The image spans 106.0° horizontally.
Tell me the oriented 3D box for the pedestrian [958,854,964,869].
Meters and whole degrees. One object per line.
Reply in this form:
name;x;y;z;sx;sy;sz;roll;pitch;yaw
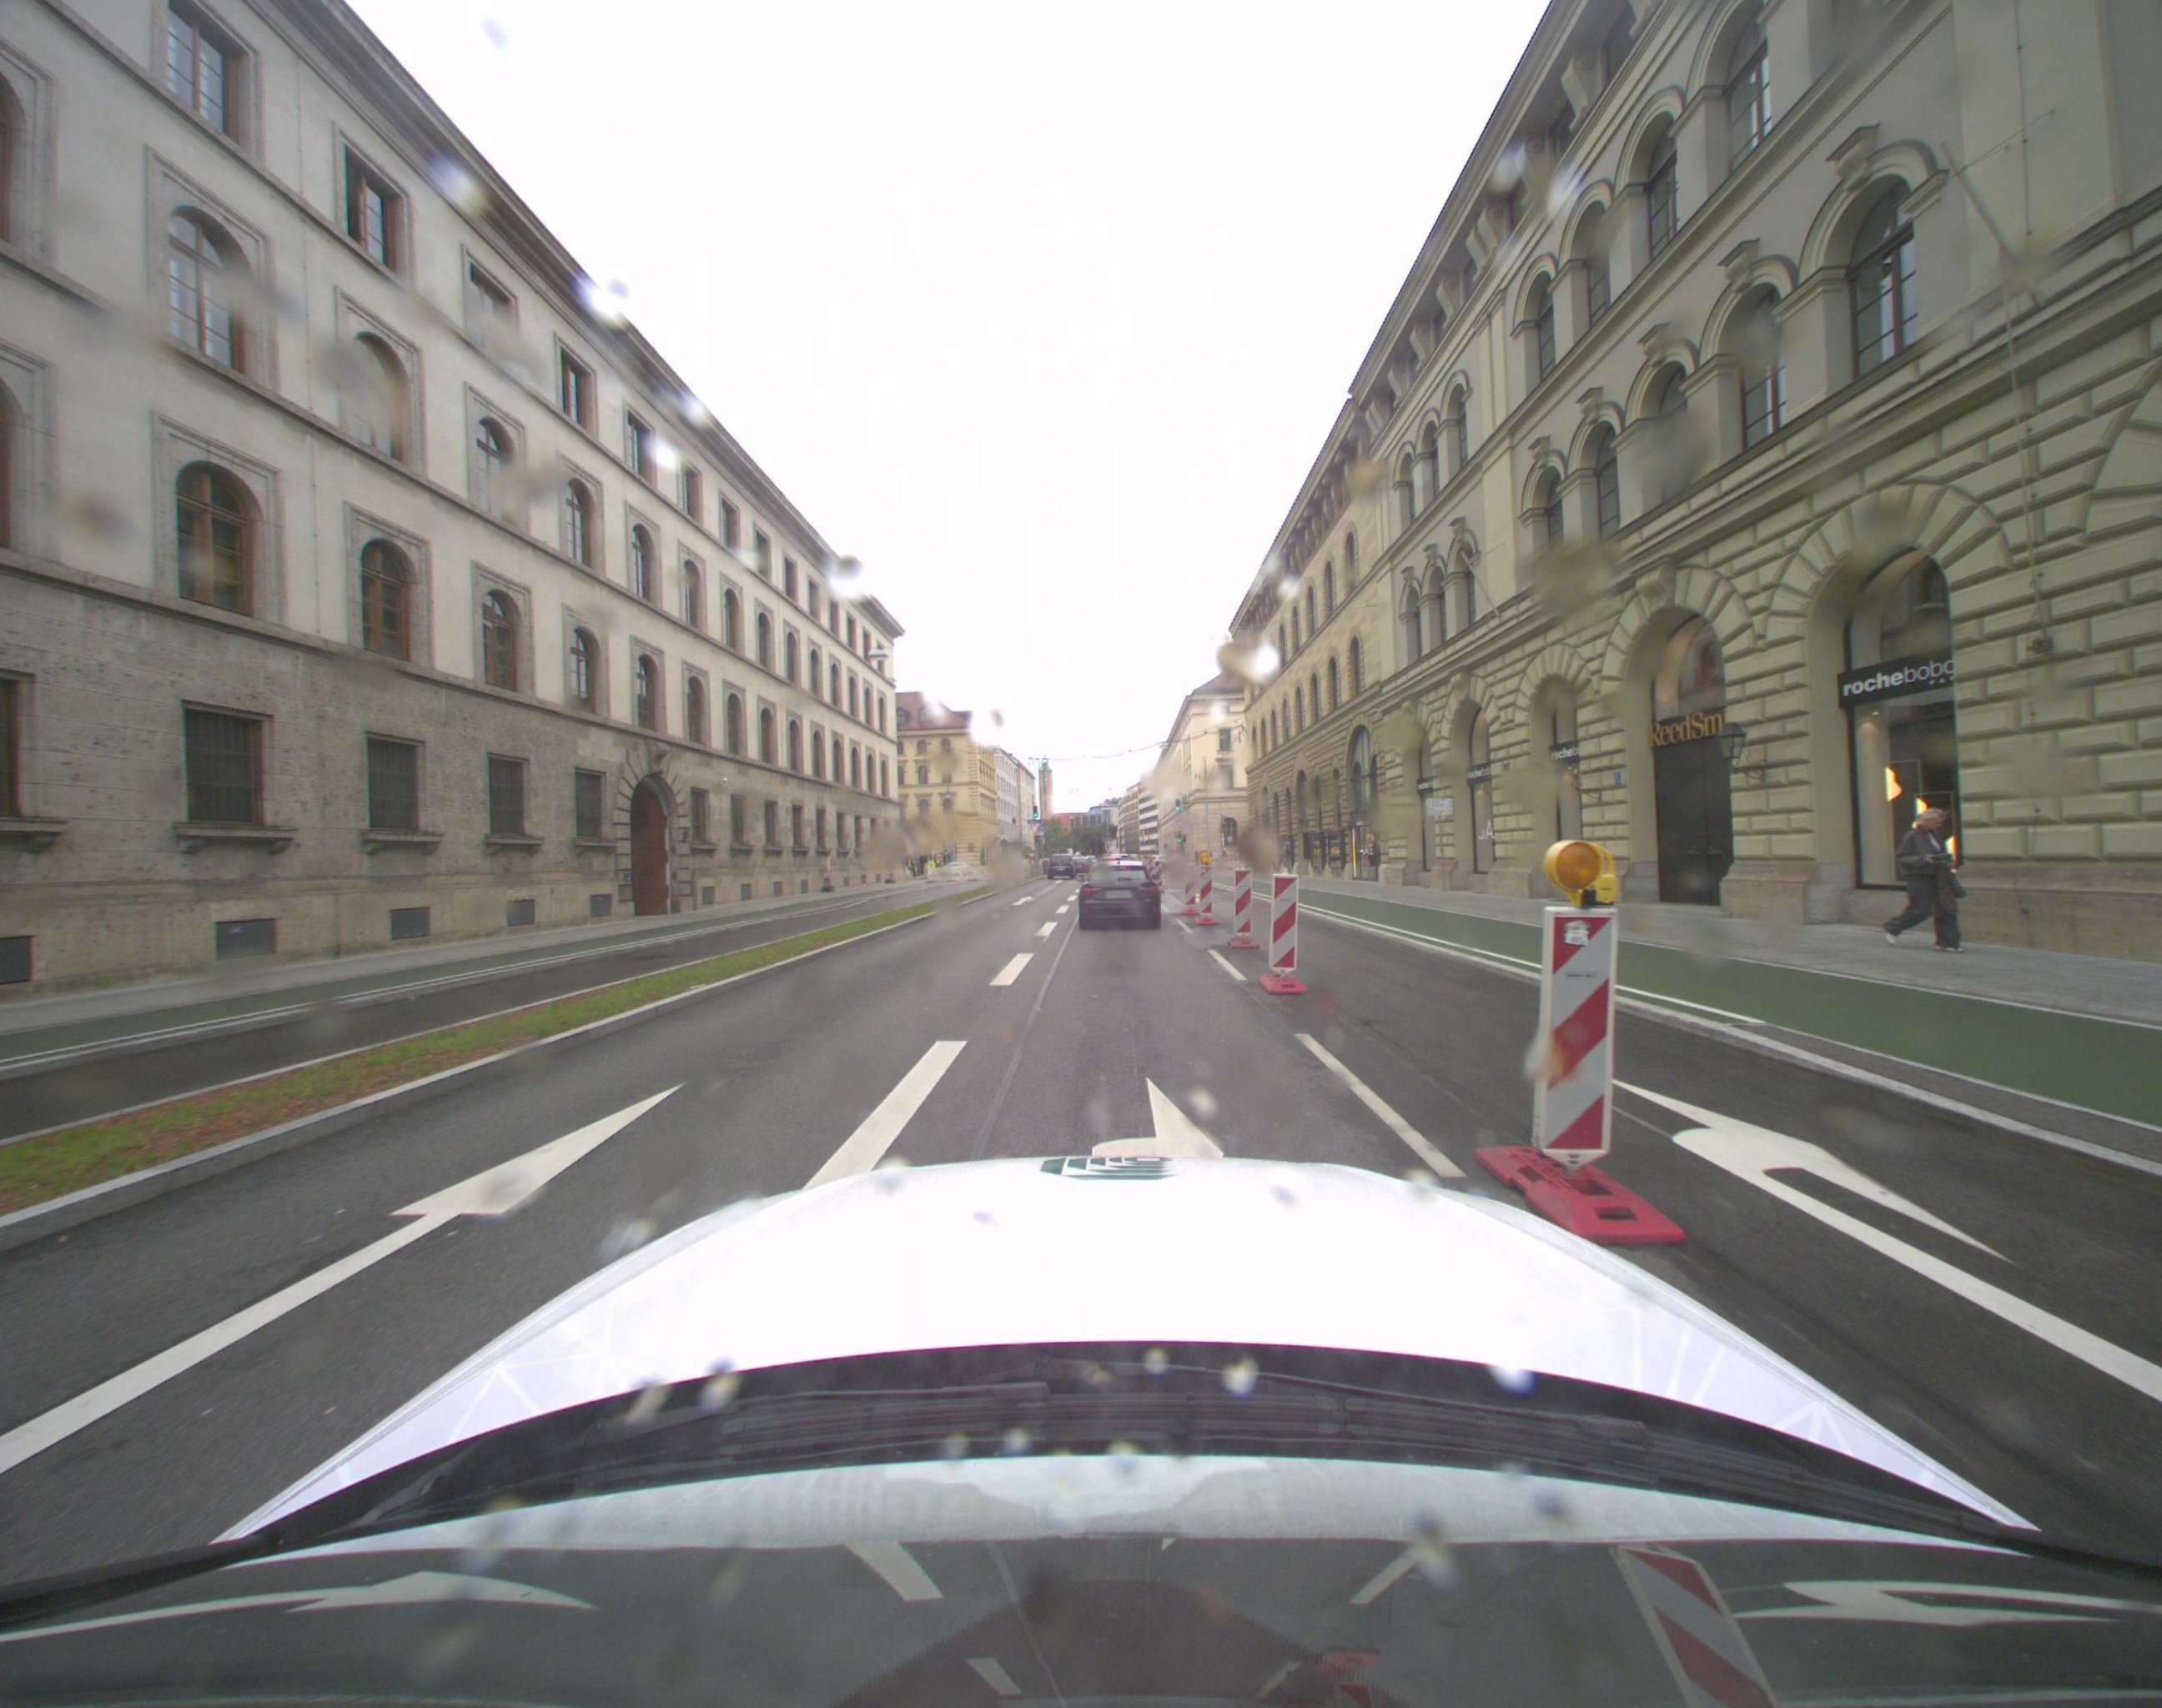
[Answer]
pedestrian;-14.446;0.906;98.260;0.733;1.772;0.737;-1;0;-8

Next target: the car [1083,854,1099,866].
car;1.376;0.772;108.330;1.986;1.524;4.234;-2;0;1

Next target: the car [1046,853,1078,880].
car;-1.227;0.781;53.379;1.858;1.601;3.852;-2;0;2

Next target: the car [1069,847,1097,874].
car;0.199;0.518;64.103;1.986;2.013;4.001;-2;0;1

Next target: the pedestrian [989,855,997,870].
pedestrian;-10.645;1.022;98.500;0.727;1.772;0.765;-1;0;23

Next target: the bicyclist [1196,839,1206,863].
bicyclist;9.343;-0.215;63.301;0.564;1.854;0.798;-1;0;-3

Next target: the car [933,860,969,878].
car;-13.960;1.630;87.300;3.744;1.798;1.860;-2;-1;-13

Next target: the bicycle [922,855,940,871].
bicycle;-12.314;0.710;66.928;0.783;1.242;2.453;-1;0;6

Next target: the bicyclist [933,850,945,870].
bicyclist;-12.362;0.509;70.911;0.794;1.776;0.690;-1;0;5

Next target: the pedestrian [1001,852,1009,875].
pedestrian;-5.966;0.761;63.922;0.512;1.743;1.040;-2;0;-8

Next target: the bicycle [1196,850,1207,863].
bicycle;9.352;0.212;63.271;0.583;1.011;1.655;-1;0;-2

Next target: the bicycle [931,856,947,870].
bicycle;-12.366;0.779;70.843;0.783;1.242;2.203;-1;0;6

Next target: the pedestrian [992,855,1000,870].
pedestrian;-10.346;1.026;99.195;0.727;1.772;0.743;-1;0;23

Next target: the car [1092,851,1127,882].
car;1.576;0.680;46.199;1.764;1.617;3.998;-1;0;-1

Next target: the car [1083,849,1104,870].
car;1.263;0.539;81.670;1.986;2.013;4.002;-2;0;2

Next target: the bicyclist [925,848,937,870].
bicyclist;-12.315;0.429;66.960;0.794;1.748;0.690;-1;0;5

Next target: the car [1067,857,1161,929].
car;0.721;0.786;18.315;1.856;1.388;4.002;-1;0;2

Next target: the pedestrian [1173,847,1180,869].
pedestrian;7.353;0.314;62.694;0.529;1.620;0.674;-1;0;4

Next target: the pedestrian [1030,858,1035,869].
pedestrian;-8.350;1.628;141.247;0.734;1.772;0.736;-1;0;1

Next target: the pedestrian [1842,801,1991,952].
pedestrian;10.120;0.259;9.908;0.630;1.704;1.086;-3;0;1
